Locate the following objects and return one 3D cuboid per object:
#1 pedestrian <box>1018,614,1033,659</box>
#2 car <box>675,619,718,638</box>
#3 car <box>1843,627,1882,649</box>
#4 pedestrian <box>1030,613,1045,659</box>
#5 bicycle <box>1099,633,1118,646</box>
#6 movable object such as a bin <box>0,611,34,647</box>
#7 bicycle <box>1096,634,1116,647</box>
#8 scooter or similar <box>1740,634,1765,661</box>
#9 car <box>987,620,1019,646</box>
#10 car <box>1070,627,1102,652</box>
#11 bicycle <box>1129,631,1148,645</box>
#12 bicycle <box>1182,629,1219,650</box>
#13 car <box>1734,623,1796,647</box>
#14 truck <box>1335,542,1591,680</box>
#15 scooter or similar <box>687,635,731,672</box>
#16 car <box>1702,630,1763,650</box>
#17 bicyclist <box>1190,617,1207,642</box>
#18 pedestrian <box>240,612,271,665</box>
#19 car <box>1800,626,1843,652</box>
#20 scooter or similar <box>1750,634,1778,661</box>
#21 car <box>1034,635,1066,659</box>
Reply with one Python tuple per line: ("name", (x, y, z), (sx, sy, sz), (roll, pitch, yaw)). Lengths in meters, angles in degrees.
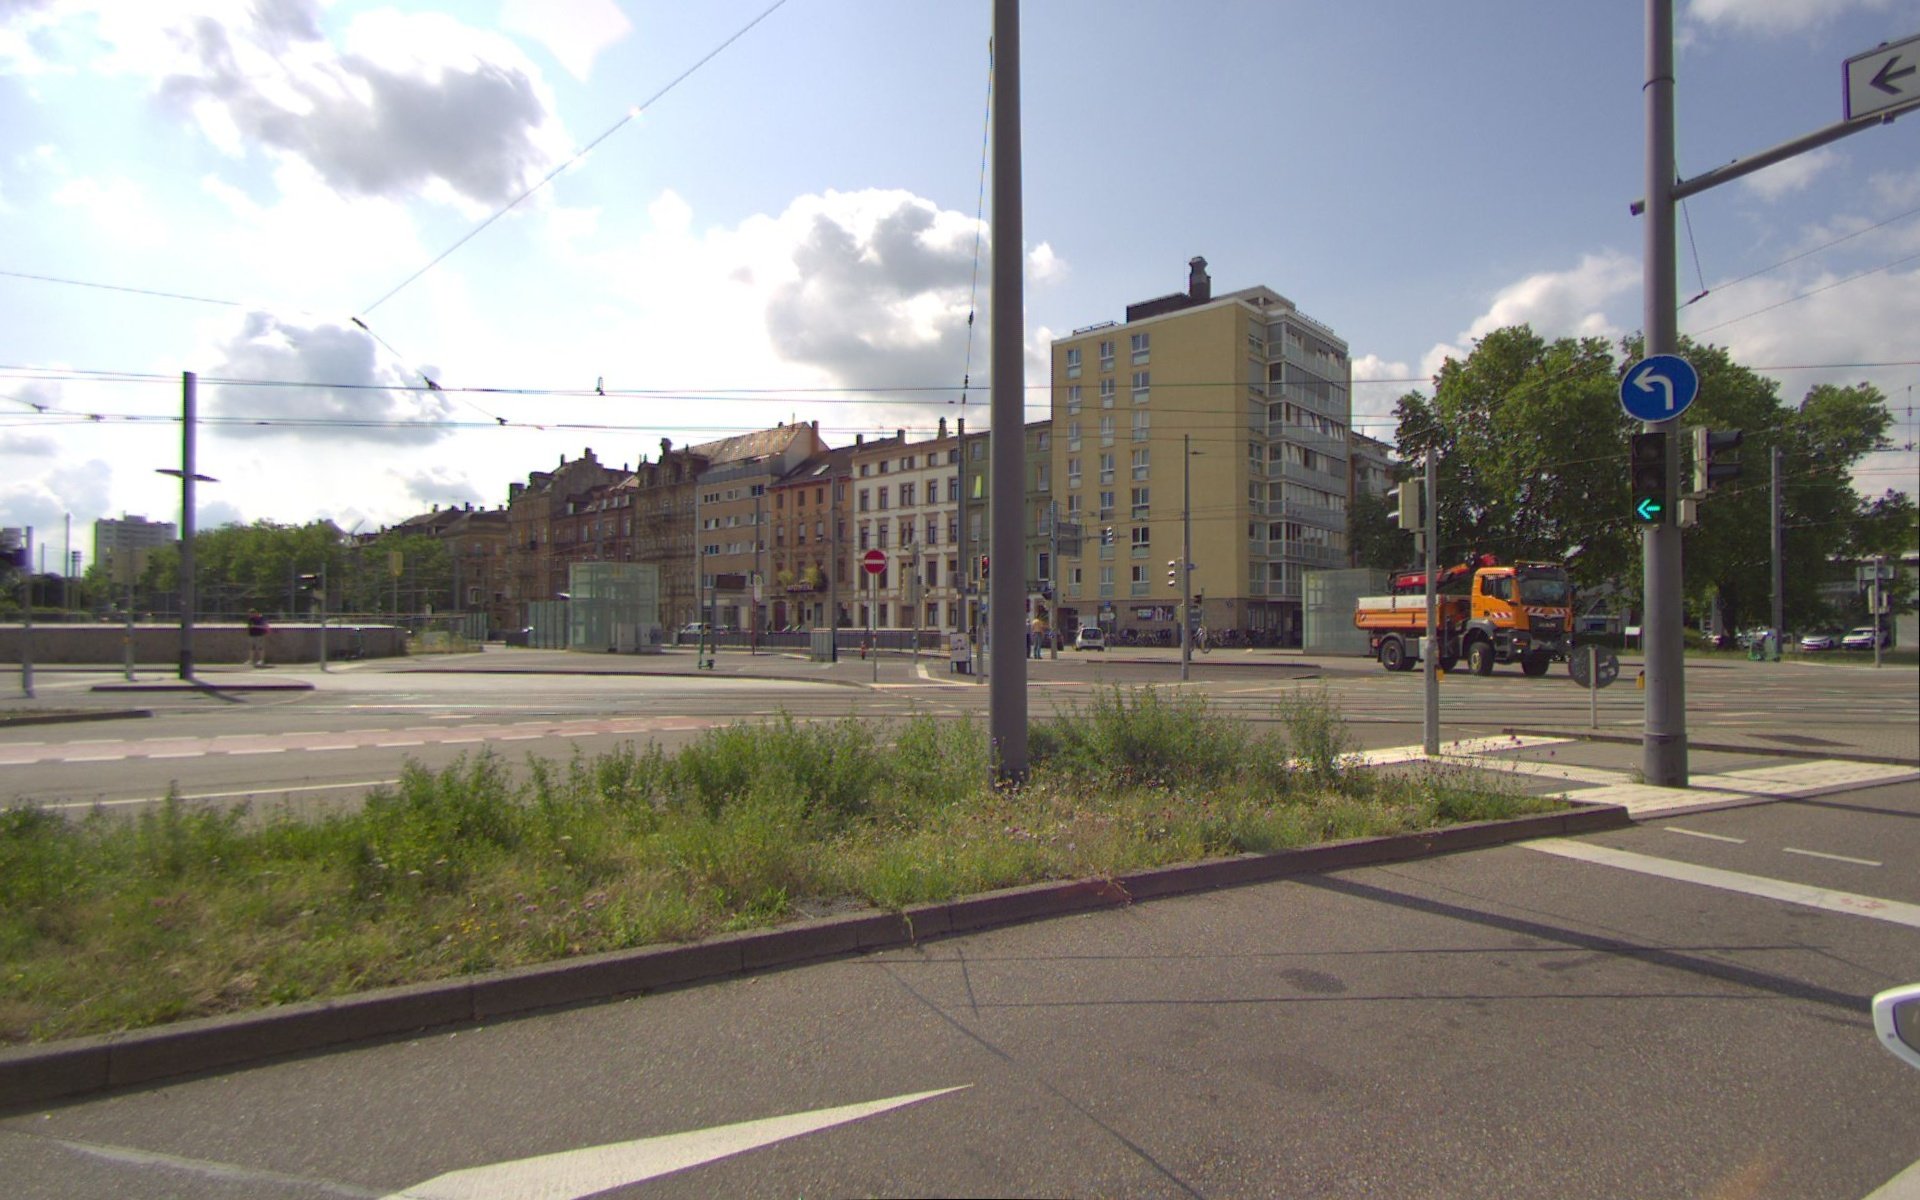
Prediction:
("pedestrian", (2.997, 1.658, 46.147), (0.506, 2.040, 0.502), (-1, -1, 31))
("car", (-28.132, 3.058, 107.252), (4.678, 1.886, 1.992), (-2, -3, 38))
("car", (72.521, 3.018, 80.705), (3.967, 1.704, 1.771), (1, -2, -40))
("pedestrian", (3.526, 1.624, 45.584), (0.568, 2.040, 0.426), (-1, -1, 31))
("bicycle", (10.778, 2.885, 72.896), (1.442, 0.935, 0.292), (0, -1, 41))
("movable object such as a bin", (-79.128, 2.357, 81.813), (1.967, 2.950, 5.137), (-1, -2, 35))
("bicycle", (10.569, 2.923, 72.655), (1.442, 0.935, 0.292), (1, -1, 41))
("scooter or similar", (36.753, 2.197, 46.600), (0.374, 1.212, 1.065), (2, 0, 6))
("car", (2.849, 2.251, 67.326), (2.021, 1.668, 4.598), (0, -3, 1))
("car", (7.922, 2.507, 63.401), (1.743, 1.472, 3.498), (0, -3, 2))
("bicycle", (12.608, 2.695, 70.961), (1.444, 0.935, 0.291), (1, 0, 44))
("bicycle", (13.391, 2.182, 55.841), (2.069, 1.121, 0.542), (1, -1, -21))
("car", (73.569, 3.157, 91.829), (1.973, 2.040, 3.974), (2, 0, -25))
("truck", (16.542, 0.351, 33.885), (2.793, 4.062, 8.039), (2, 0, -18))
("scooter or similar", (-8.191, 1.721, 32.765), (1.148, 1.182, 0.810), (-1, -2, 33))
("car", (64.353, 3.322, 83.747), (1.653, 1.508, 3.652), (1, 1, -30))
("bicyclist", (13.246, 1.630, 55.757), (0.773, 1.354, 0.393), (2, 0, -23))
("pedestrian", (-24.569, 1.331, 35.041), (0.552, 1.818, 0.720), (0, -1, -5))
("car", (70.877, 3.202, 82.660), (3.967, 2.040, 1.977), (2, 1, -40))
("scooter or similar", (37.344, 2.205, 46.679), (0.374, 1.212, 1.064), (2, 0, -4))
("car", (5.753, 3.000, 64.855), (1.900, 1.479, 4.603), (0, -2, 3))
